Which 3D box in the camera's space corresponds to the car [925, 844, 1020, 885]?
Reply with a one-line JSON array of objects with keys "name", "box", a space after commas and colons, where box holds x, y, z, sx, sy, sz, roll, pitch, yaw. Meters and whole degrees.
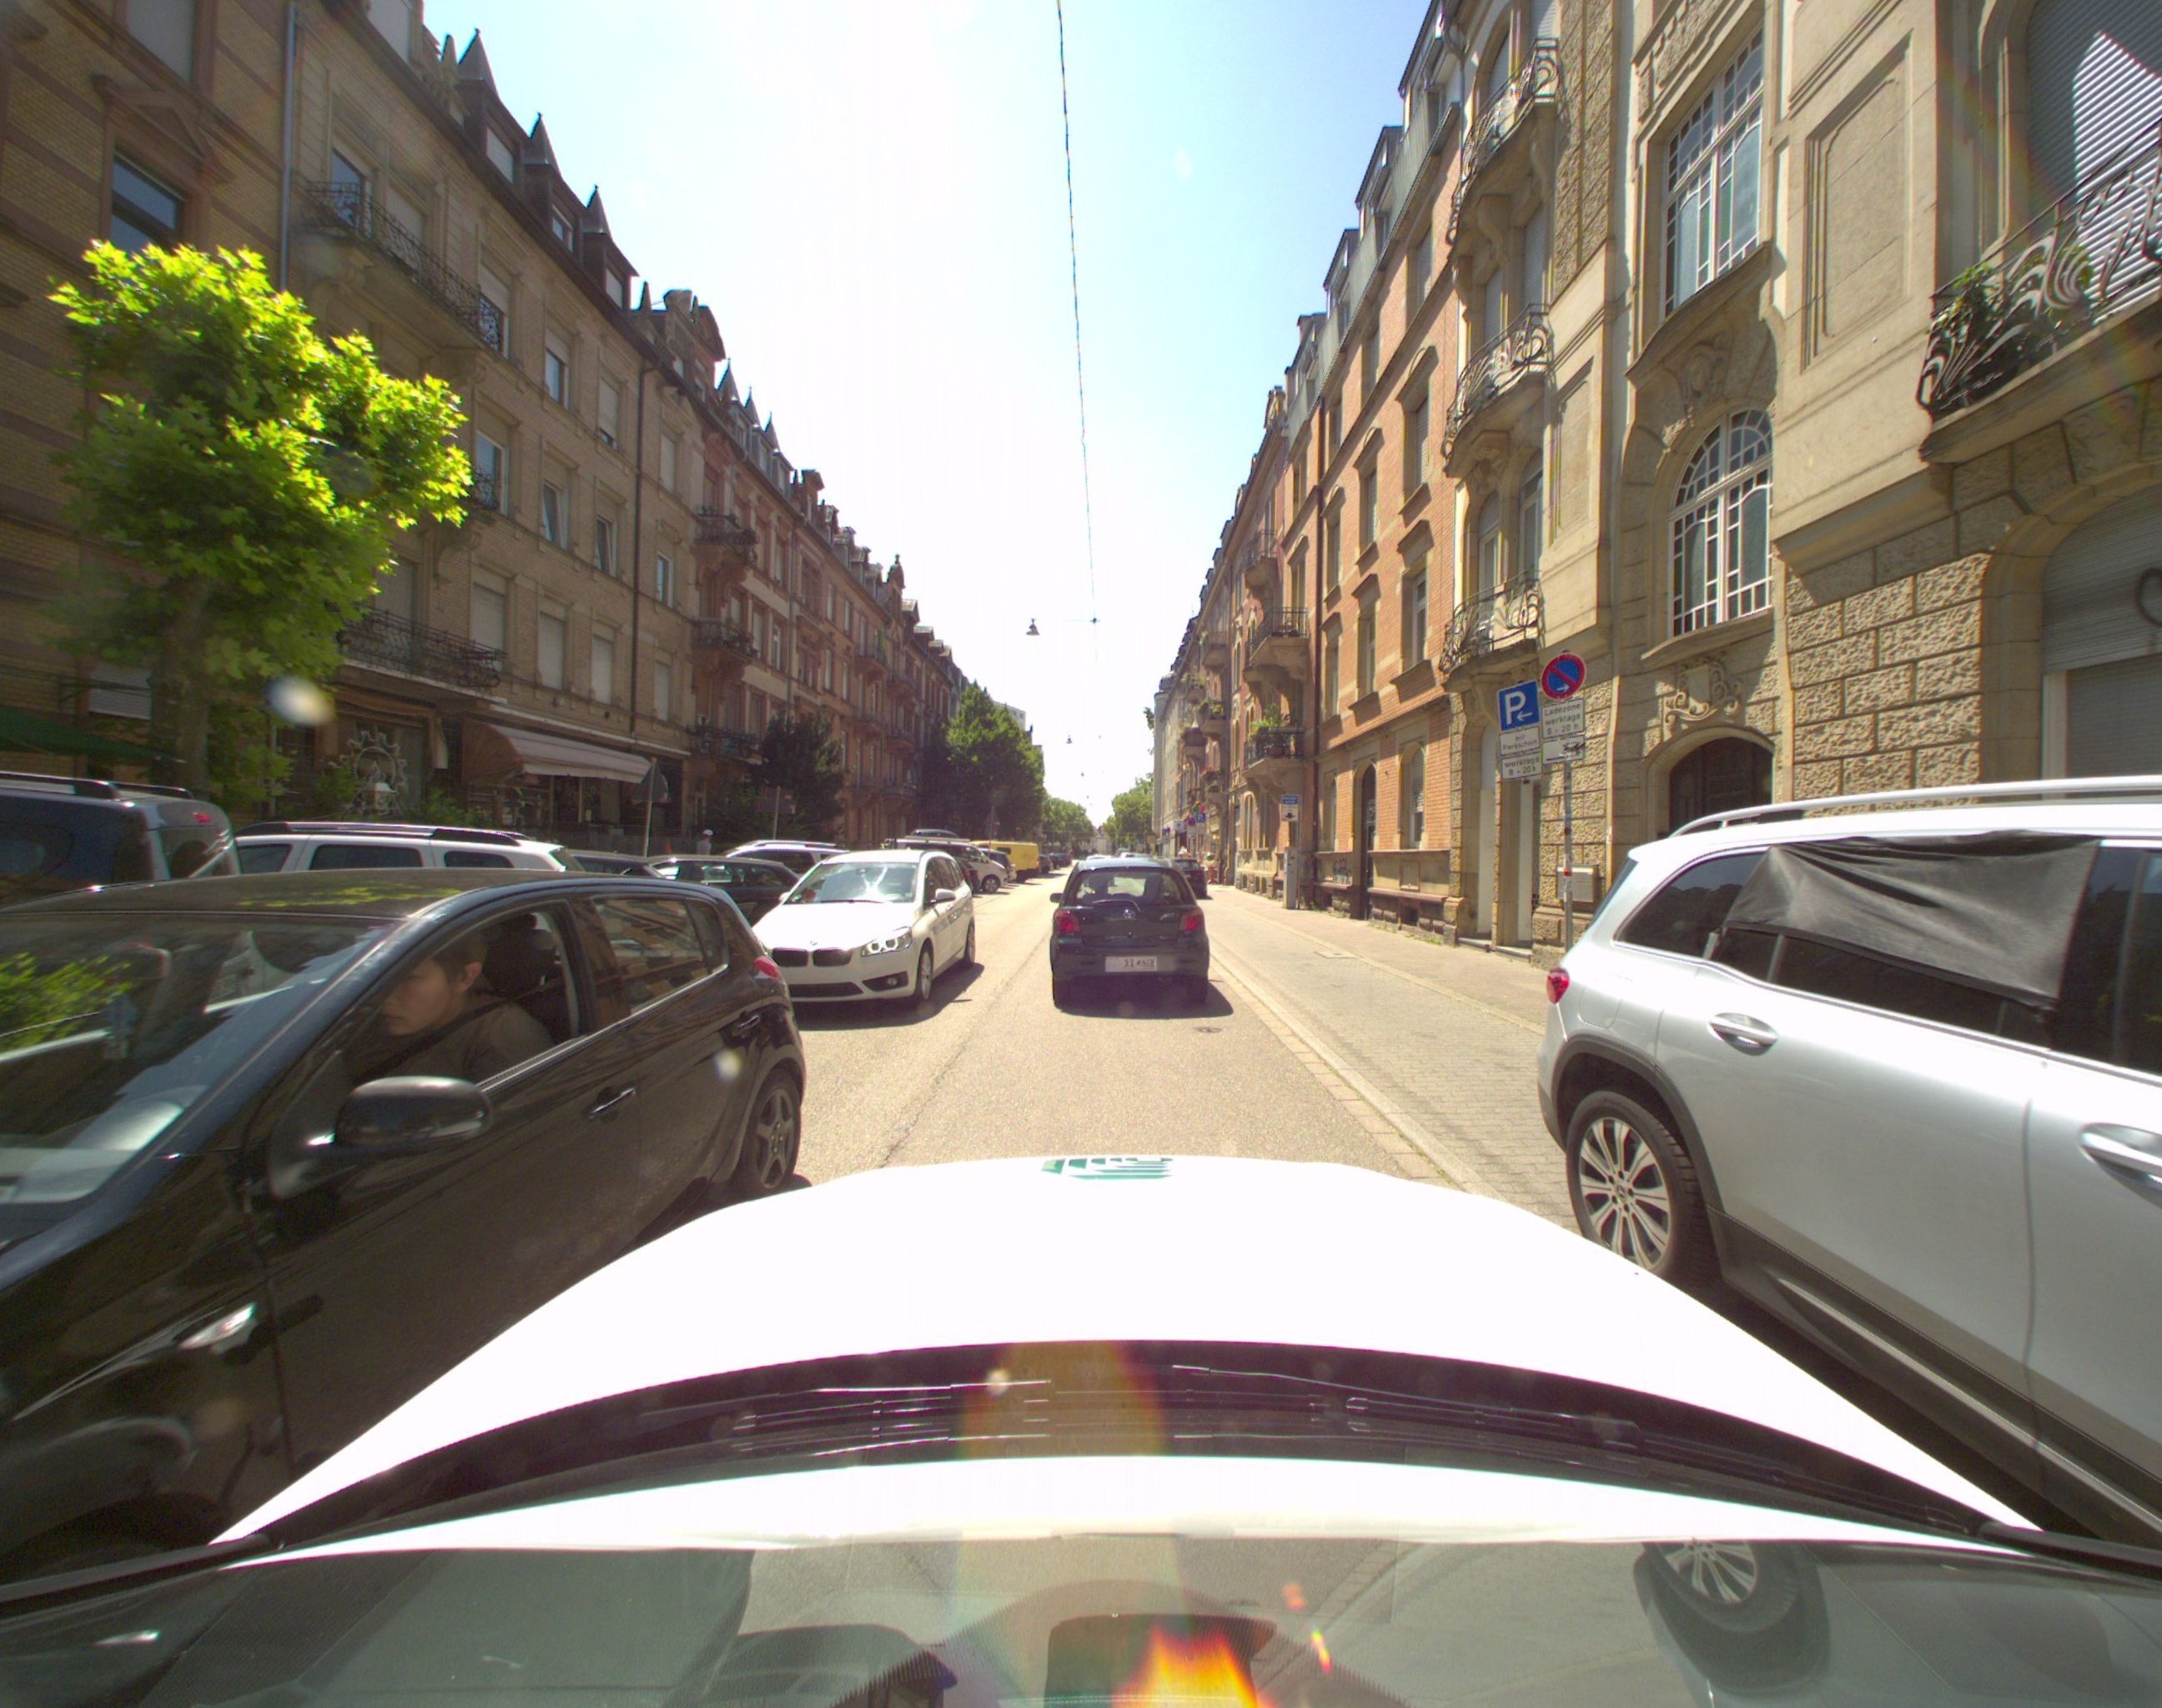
[{"name": "car", "box": [-4.975, 0.477, 37.206, 3.925, 1.708, 1.852, 2, 0, -22]}]

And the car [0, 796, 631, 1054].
[{"name": "car", "box": [-6.071, 0.512, 6.540, 4.002, 1.658, 1.747, 3, 0, -22]}]

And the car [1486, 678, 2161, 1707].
[{"name": "car", "box": [2.718, 0.566, 1.516, 1.864, 1.713, 4.506, 0, 0, 2]}]

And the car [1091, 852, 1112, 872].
[{"name": "car", "box": [1.740, 0.641, 68.158, 1.515, 1.592, 3.268, 2, 0, 4]}]

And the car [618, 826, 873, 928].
[{"name": "car", "box": [-6.086, 0.399, 14.968, 3.942, 1.619, 1.844, 2, 0, -39]}]

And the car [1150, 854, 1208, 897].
[{"name": "car", "box": [3.515, 0.744, 29.664, 1.748, 1.429, 4.002, 1, 0, 2]}]

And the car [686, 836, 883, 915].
[{"name": "car", "box": [-6.591, 0.488, 18.289, 3.925, 1.619, 1.852, 2, 0, -22]}]

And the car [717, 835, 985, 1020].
[{"name": "car", "box": [-2.362, 0.679, 9.625, 1.748, 1.645, 4.379, -1, 0, 2]}]

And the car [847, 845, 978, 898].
[{"name": "car", "box": [-5.574, 0.574, 26.867, 3.925, 1.619, 1.852, 2, 0, -22]}]

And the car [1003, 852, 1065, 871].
[{"name": "car", "box": [-3.822, 0.610, 66.504, 4.580, 1.428, 1.983, 2, 0, -26]}]

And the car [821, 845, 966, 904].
[{"name": "car", "box": [-5.577, 0.604, 24.162, 3.925, 1.619, 1.852, 2, 0, -22]}]

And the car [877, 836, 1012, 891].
[{"name": "car", "box": [-5.350, 0.379, 32.059, 4.799, 1.994, 2.035, 2, 0, -27]}]

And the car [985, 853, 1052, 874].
[{"name": "car", "box": [-4.681, 0.711, 60.920, 4.580, 1.434, 1.983, 2, 0, -26]}]

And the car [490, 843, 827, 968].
[{"name": "car", "box": [-5.914, 0.645, 11.611, 3.942, 1.470, 1.844, 2, 0, -40]}]

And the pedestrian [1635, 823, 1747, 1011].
[{"name": "pedestrian", "box": [5.958, 0.582, 7.979, 0.511, 1.750, 0.748, 0, 0, -6]}]

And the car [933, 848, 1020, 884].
[{"name": "car", "box": [-5.148, 0.585, 39.999, 3.877, 1.640, 1.772, 2, 0, -22]}]

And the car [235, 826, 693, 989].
[{"name": "car", "box": [-6.314, 0.552, 8.882, 3.639, 1.458, 1.610, 3, 0, -28]}]

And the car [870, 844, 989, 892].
[{"name": "car", "box": [-5.495, 0.502, 29.457, 3.925, 1.619, 1.852, 2, 0, -22]}]

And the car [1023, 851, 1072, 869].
[{"name": "car", "box": [-3.441, 0.582, 83.563, 4.630, 1.726, 1.983, 2, 0, -26]}]

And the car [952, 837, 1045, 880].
[{"name": "car", "box": [-4.444, 0.251, 44.029, 4.580, 2.187, 1.983, 2, 0, -26]}]

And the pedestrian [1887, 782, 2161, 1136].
[{"name": "pedestrian", "box": [4.847, 0.485, 4.165, 0.638, 1.623, 0.804, 1, 0, 2]}]

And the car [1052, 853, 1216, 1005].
[{"name": "car", "box": [0.518, 0.737, 9.591, 1.609, 1.485, 3.240, 0, 0, 0]}]

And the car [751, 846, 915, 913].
[{"name": "car", "box": [-6.491, 0.662, 21.314, 3.925, 1.619, 1.852, 2, 0, -22]}]

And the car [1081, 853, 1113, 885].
[{"name": "car", "box": [0.820, 0.721, 41.498, 1.517, 1.521, 3.264, 2, 0, 1]}]

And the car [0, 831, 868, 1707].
[{"name": "car", "box": [-2.116, 0.685, 2.434, 1.748, 1.444, 4.002, 1, 0, 2]}]

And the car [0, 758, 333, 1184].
[{"name": "car", "box": [-6.111, 0.410, 3.449, 4.015, 1.804, 1.751, 3, 0, -34]}]
